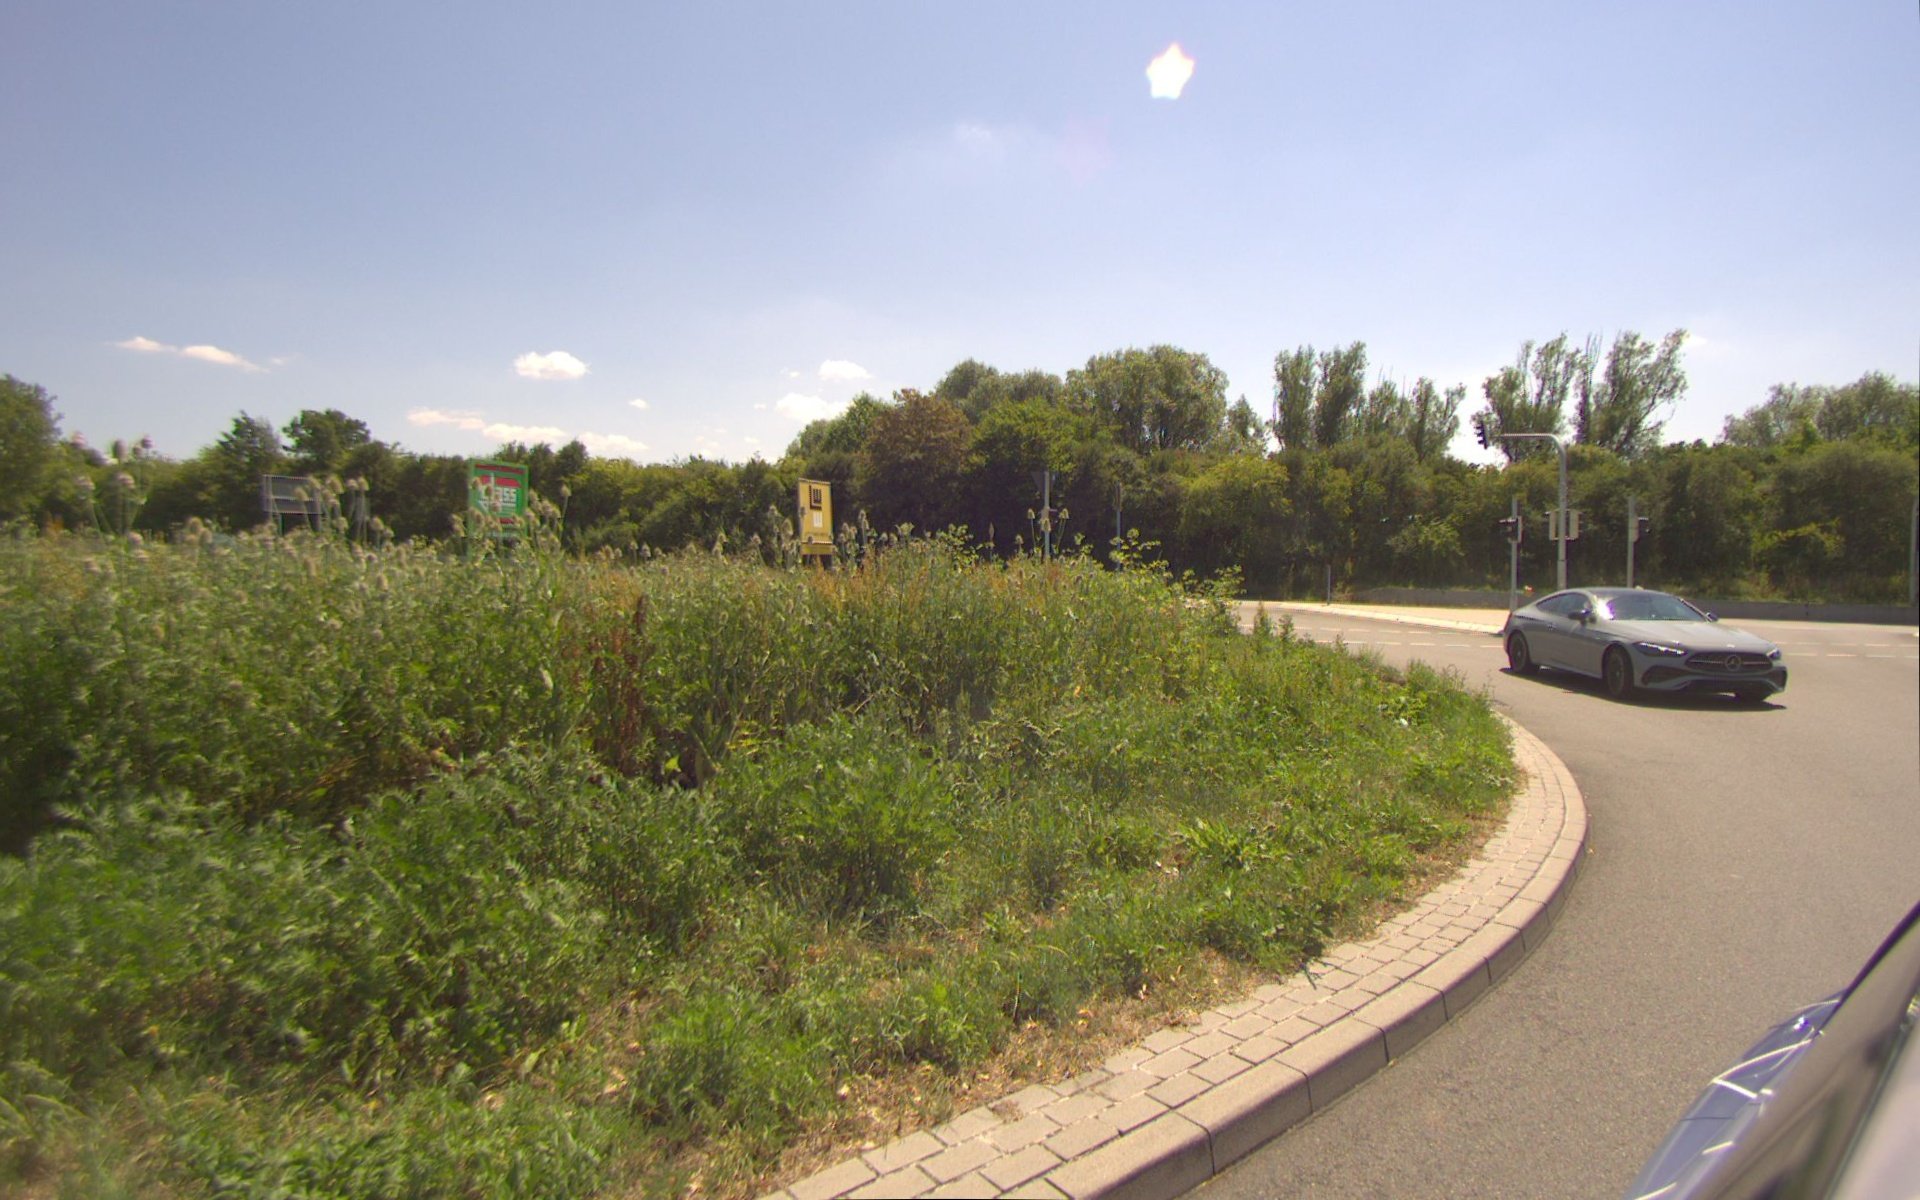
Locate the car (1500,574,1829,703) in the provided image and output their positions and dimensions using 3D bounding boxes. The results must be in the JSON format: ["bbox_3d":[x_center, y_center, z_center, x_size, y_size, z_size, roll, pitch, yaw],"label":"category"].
[{"bbox_3d":[9.845,0.418,14.691,1.889,1.459,4.478,-1,3,5],"label":"car"}]
